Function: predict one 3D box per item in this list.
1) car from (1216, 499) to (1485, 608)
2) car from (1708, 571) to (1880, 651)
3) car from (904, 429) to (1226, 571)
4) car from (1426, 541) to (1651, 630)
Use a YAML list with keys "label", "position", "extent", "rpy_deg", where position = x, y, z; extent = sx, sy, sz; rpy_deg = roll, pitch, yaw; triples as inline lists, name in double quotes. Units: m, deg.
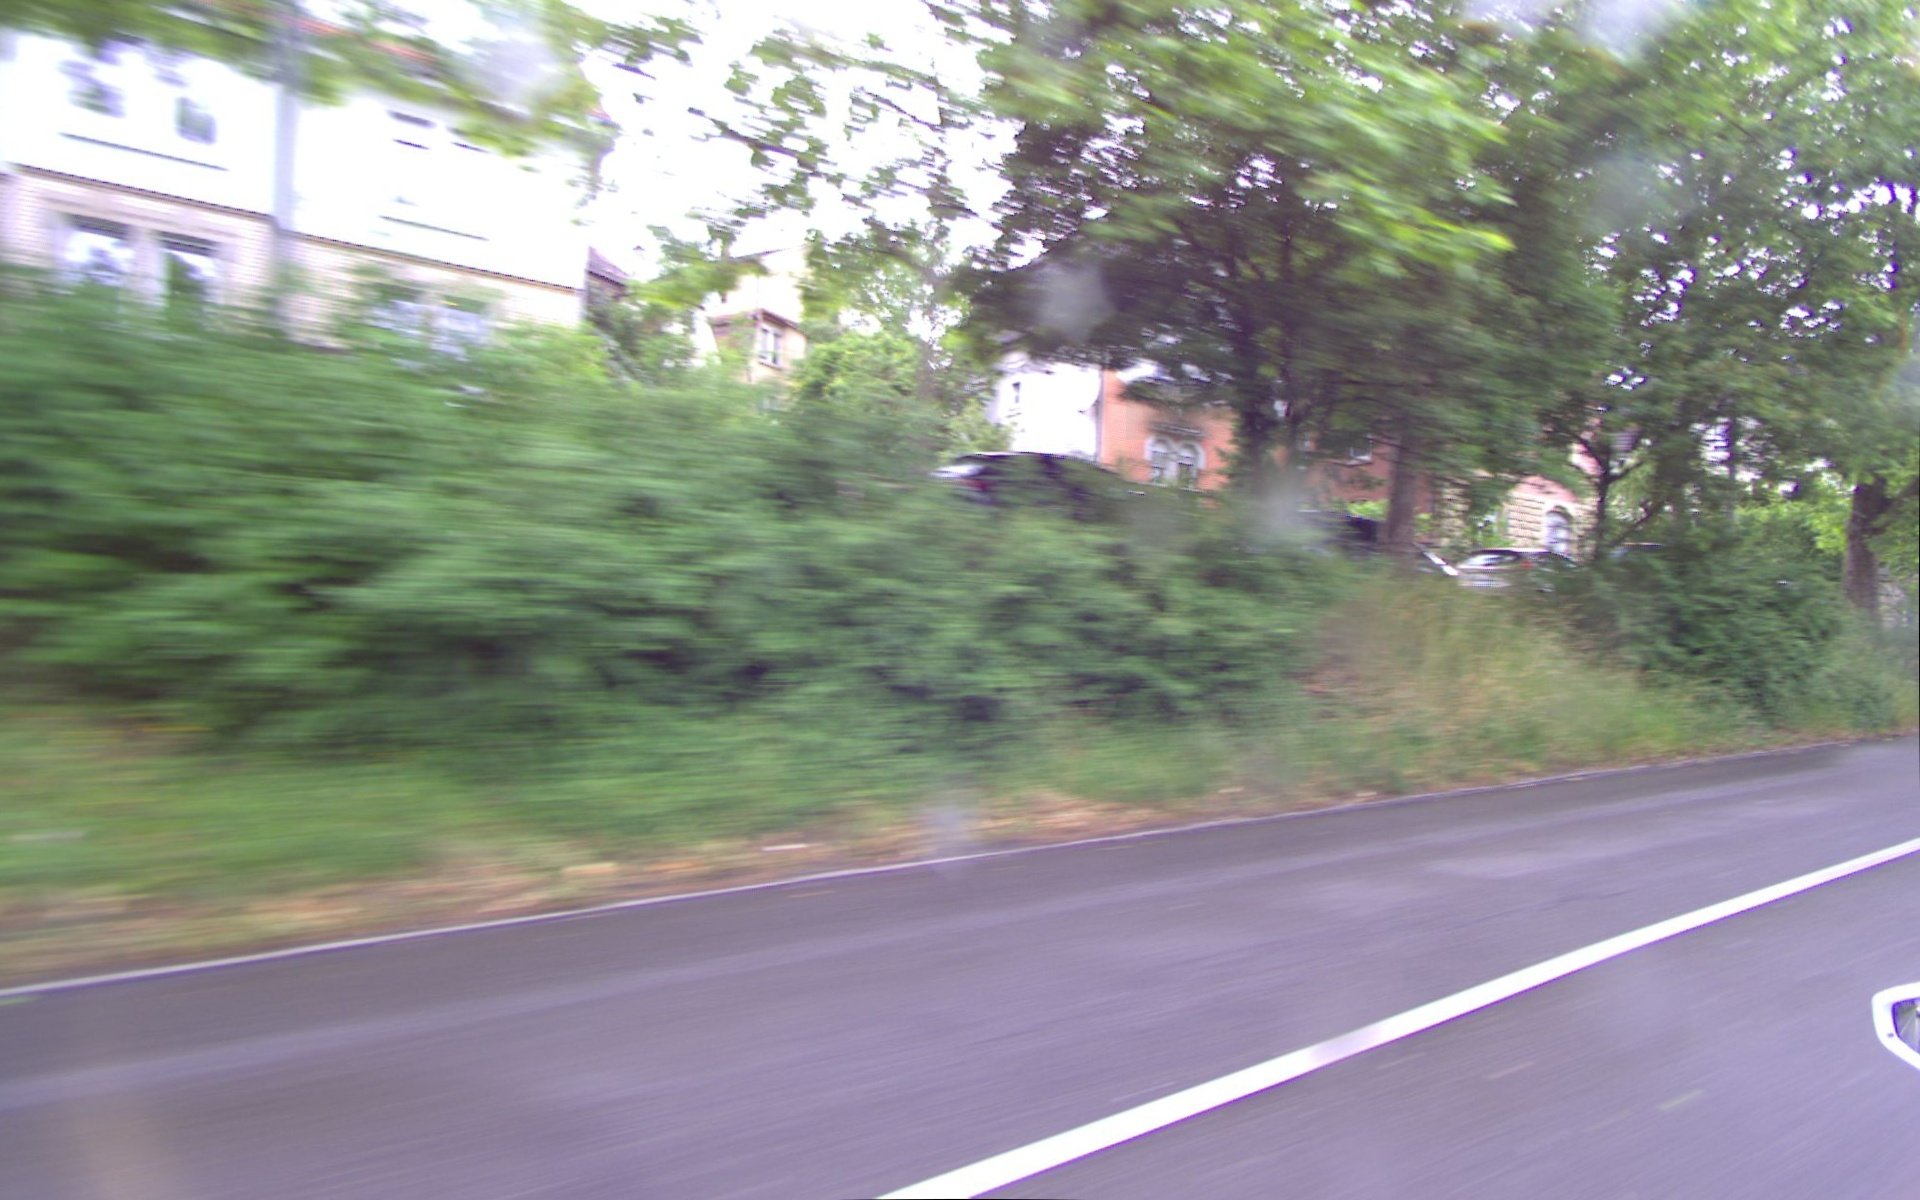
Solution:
- label: "car"
  position: [6.772, -0.732, 17.318]
  extent: [4.572, 1.578, 1.822]
  rpy_deg: [2, 1, -30]
- label: "car"
  position: [21.263, 0.301, 25.576]
  extent: [4.572, 1.868, 1.822]
  rpy_deg: [2, 1, -30]
- label: "car"
  position: [1.516, -1.283, 14.171]
  extent: [4.234, 1.578, 1.822]
  rpy_deg: [2, 1, -30]
- label: "car"
  position: [11.671, -0.259, 20.201]
  extent: [4.572, 1.578, 1.822]
  rpy_deg: [2, 1, -30]
